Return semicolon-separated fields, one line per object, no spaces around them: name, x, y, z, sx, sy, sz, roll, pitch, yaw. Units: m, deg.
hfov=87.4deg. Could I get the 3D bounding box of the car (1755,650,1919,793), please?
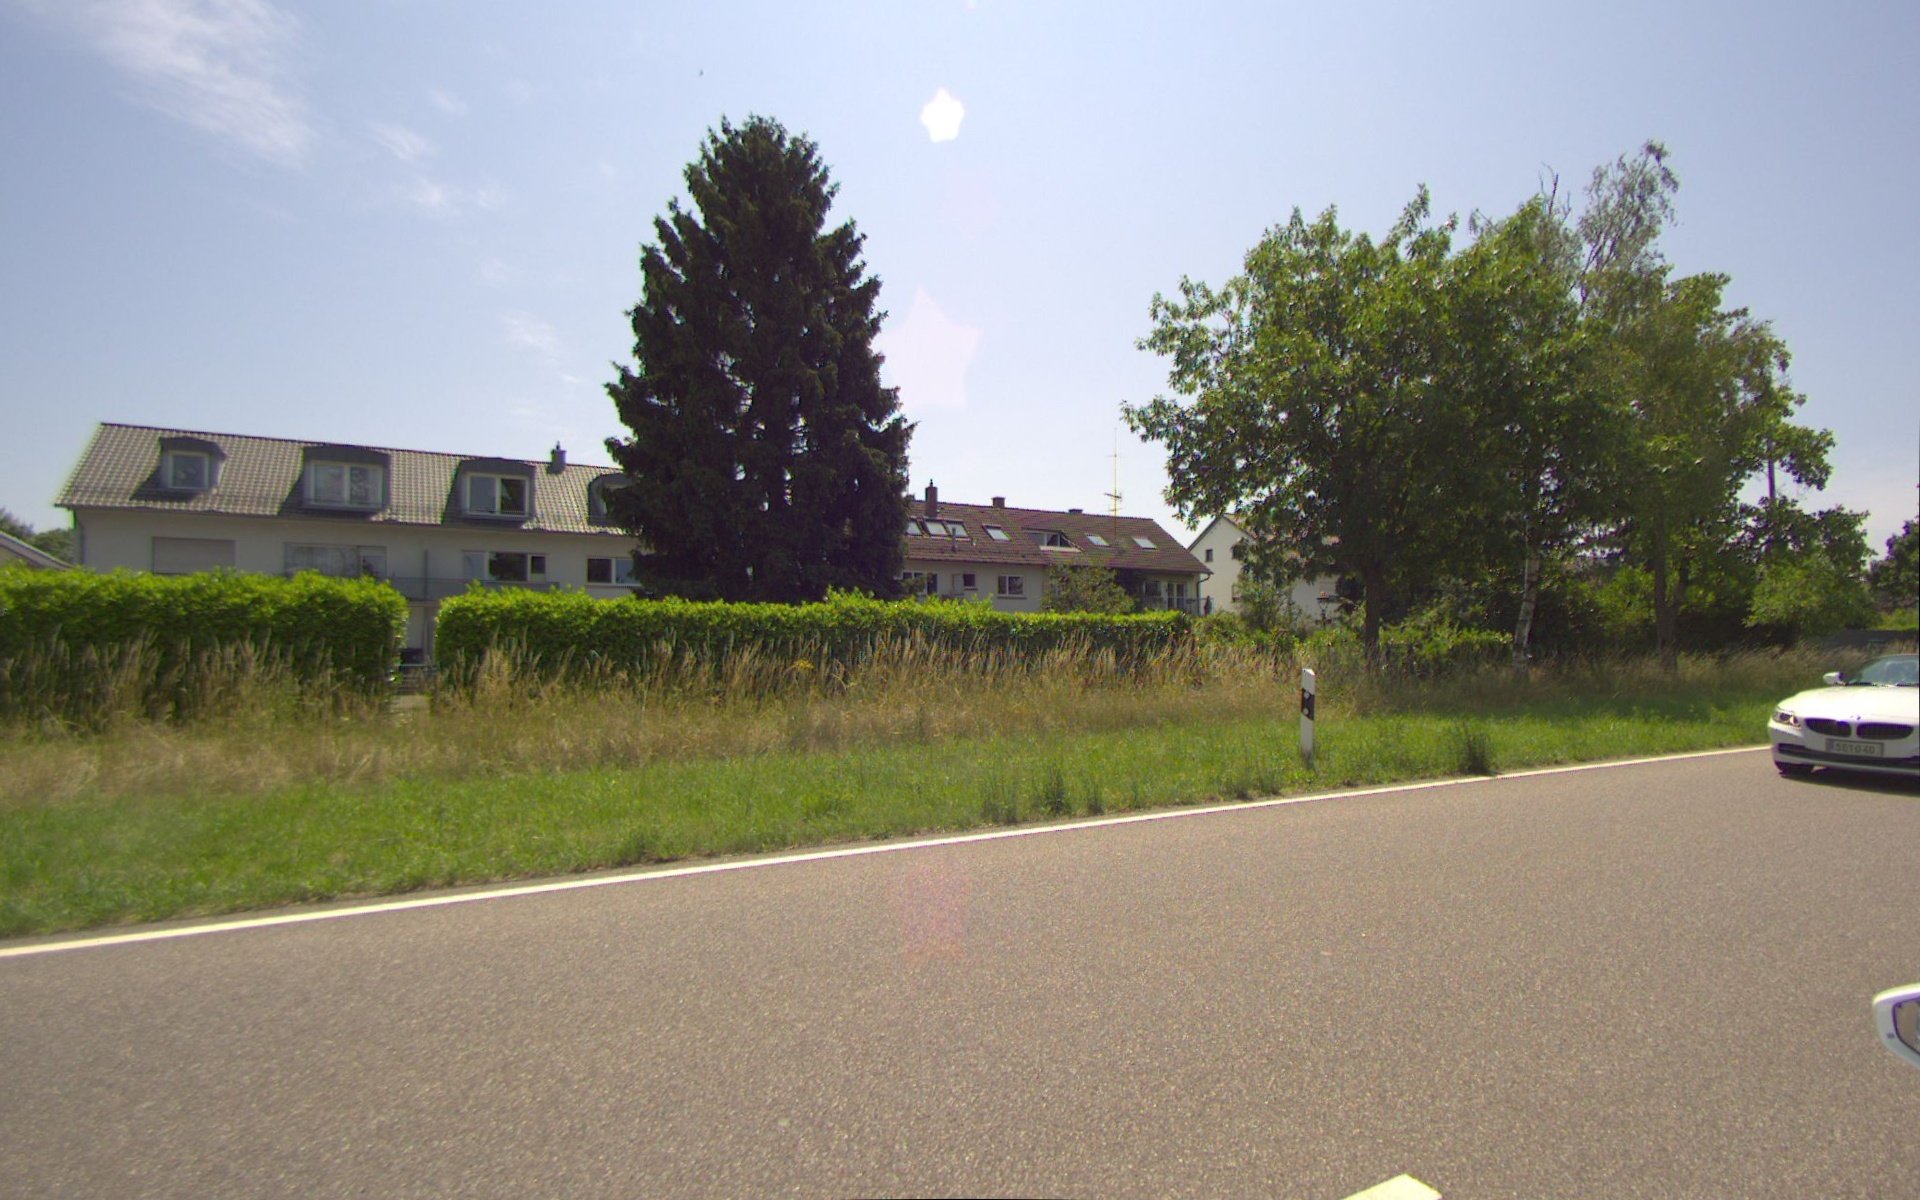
car;10.175;1.177;10.470;3.863;1.265;1.674;2;-2;-30
